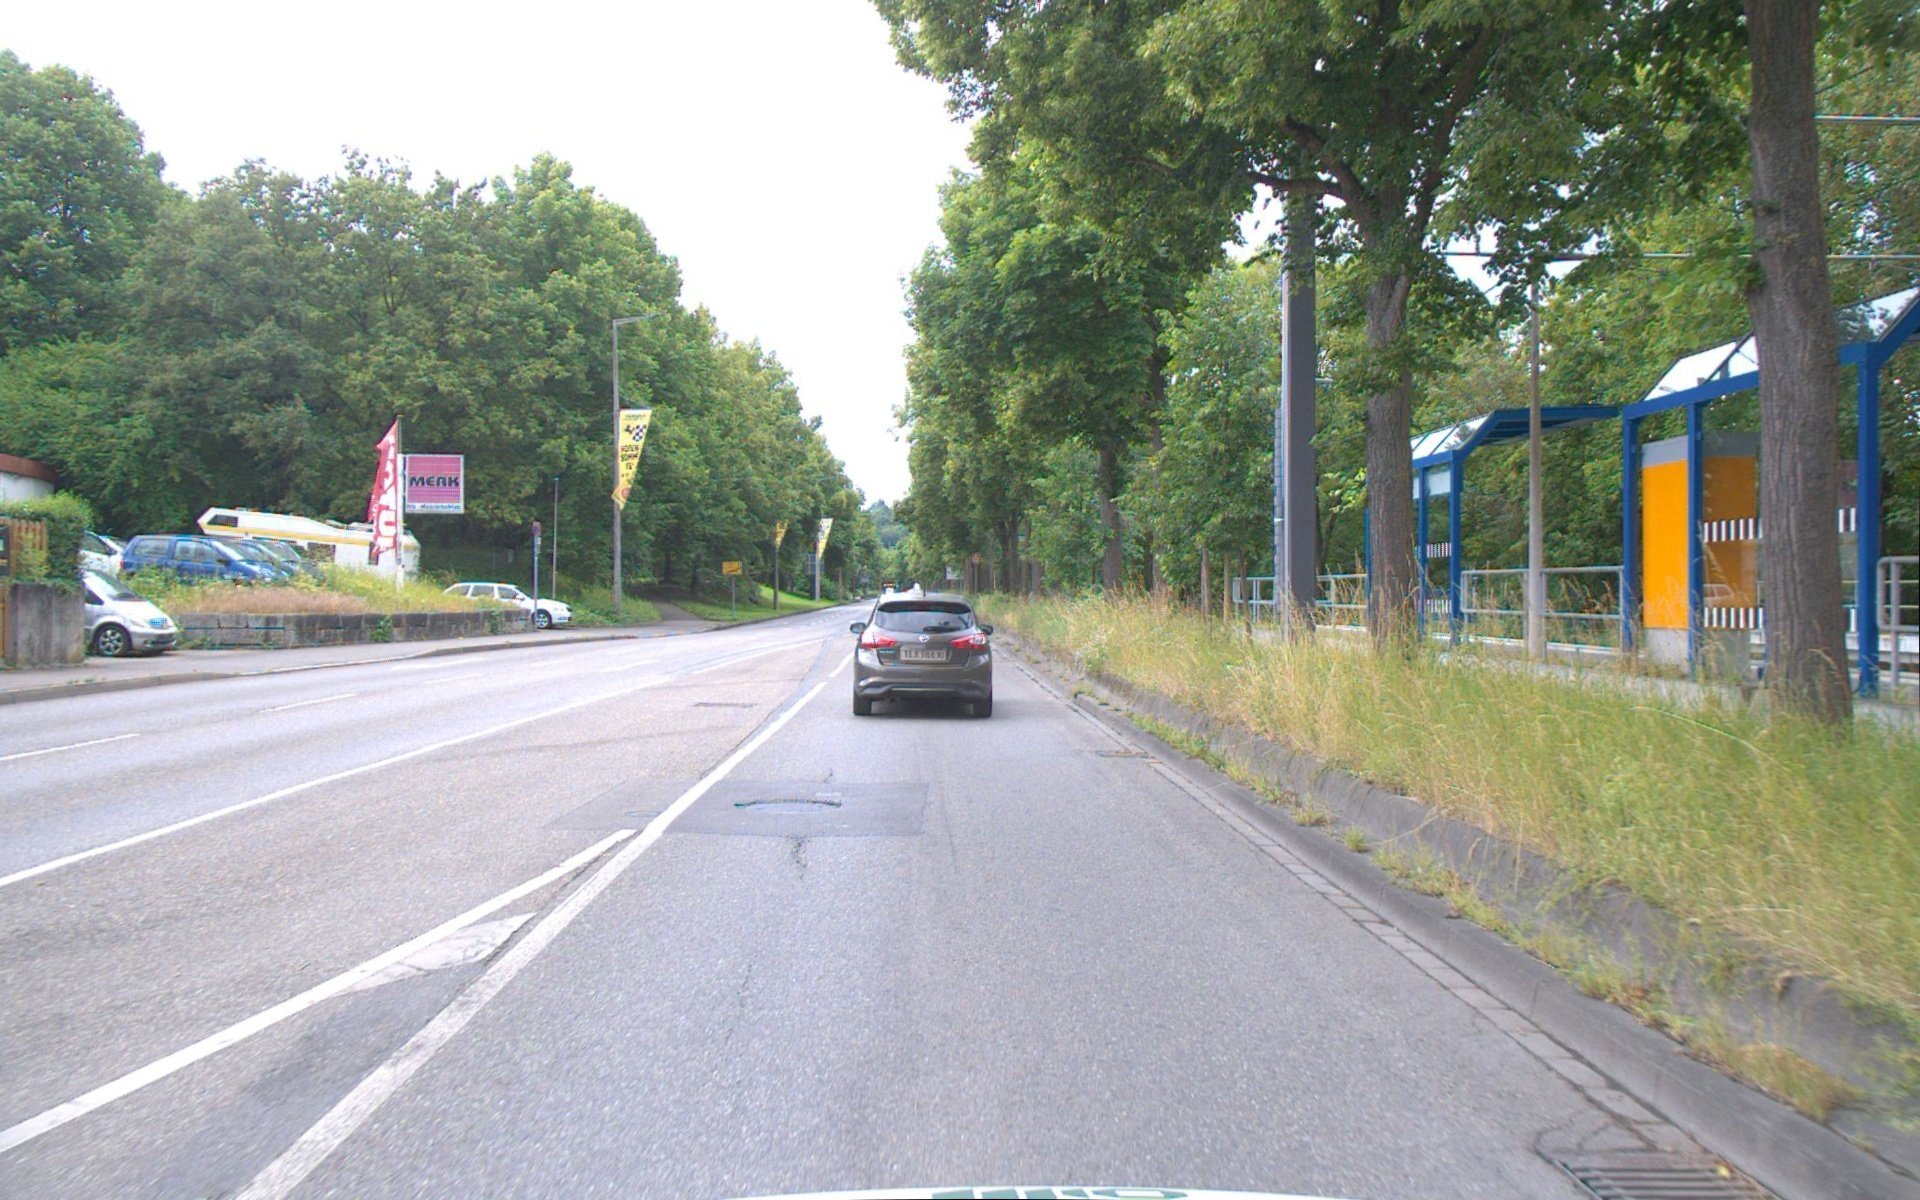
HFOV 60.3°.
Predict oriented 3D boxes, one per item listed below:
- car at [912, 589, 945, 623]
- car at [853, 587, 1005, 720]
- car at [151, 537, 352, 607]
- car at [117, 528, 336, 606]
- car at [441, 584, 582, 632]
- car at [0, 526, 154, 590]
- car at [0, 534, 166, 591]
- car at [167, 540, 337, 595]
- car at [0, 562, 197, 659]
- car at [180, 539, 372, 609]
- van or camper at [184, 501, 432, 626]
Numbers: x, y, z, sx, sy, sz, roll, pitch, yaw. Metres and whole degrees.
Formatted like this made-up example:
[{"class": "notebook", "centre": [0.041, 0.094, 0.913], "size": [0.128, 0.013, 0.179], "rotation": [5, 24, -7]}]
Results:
[{"class": "car", "centre": [-1.492, 0.288, 79.987], "size": [1.472, 1.555, 3.671], "rotation": [1, 0, 0]}, {"class": "car", "centre": [-0.360, 0.648, 21.857], "size": [1.799, 1.555, 3.929], "rotation": [1, 0, 0]}, {"class": "car", "centre": [-16.259, -0.636, 38.042], "size": [3.904, 1.435, 1.534], "rotation": [2, -1, 3]}, {"class": "car", "centre": [-15.986, -0.698, 36.181], "size": [3.904, 1.523, 1.860], "rotation": [2, -1, 3]}, {"class": "car", "centre": [-15.234, 0.278, 56.402], "size": [4.288, 1.466, 1.960], "rotation": [2, 0, -4]}, {"class": "car", "centre": [-20.338, -0.921, 37.861], "size": [1.811, 1.365, 4.398], "rotation": [1, 0, -4]}, {"class": "car", "centre": [-24.868, -1.044, 46.967], "size": [3.666, 1.425, 1.847], "rotation": [2, -1, 3]}, {"class": "car", "centre": [-20.170, -0.920, 47.225], "size": [3.904, 1.394, 2.001], "rotation": [2, -1, 3]}, {"class": "car", "centre": [-16.510, 0.175, 30.465], "size": [3.906, 1.645, 2.000], "rotation": [2, -1, -1]}, {"class": "car", "centre": [-16.501, -0.613, 39.993], "size": [3.904, 1.518, 1.648], "rotation": [2, -1, 3]}, {"class": "van or camper", "centre": [-21.964, -1.203, 55.985], "size": [7.000, 3.428, 2.795], "rotation": [6, 0, -2]}]
